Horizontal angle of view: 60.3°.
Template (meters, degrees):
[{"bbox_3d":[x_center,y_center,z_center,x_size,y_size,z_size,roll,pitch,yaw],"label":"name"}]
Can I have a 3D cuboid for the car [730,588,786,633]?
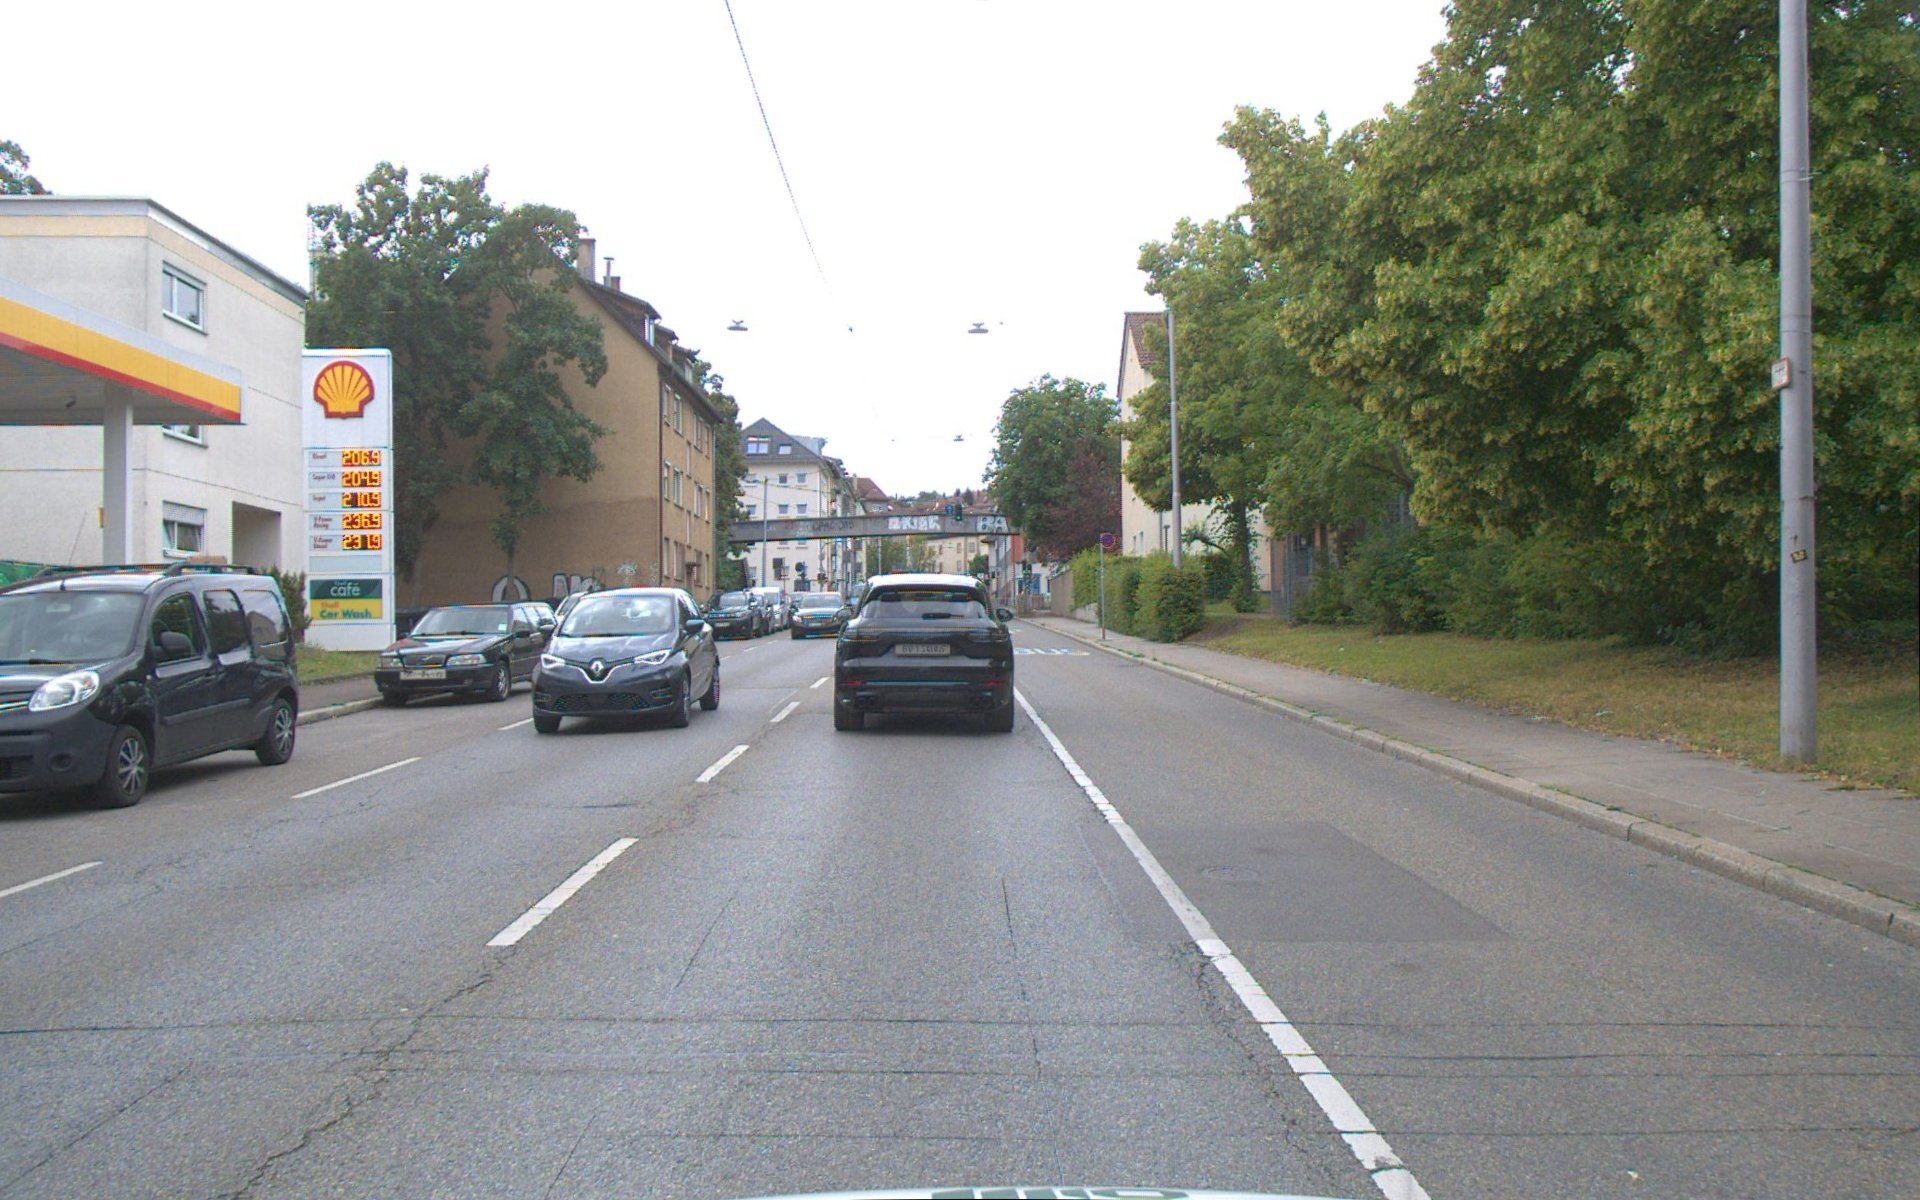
[{"bbox_3d":[-7.531,0.367,61.886,1.716,1.557,4.097,-2,0,-3],"label":"car"}]

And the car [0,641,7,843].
[{"bbox_3d":[-6.976,0.855,8.463,1.754,1.475,4.217,-2,1,-1],"label":"car"}]

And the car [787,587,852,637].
[{"bbox_3d":[-4.539,0.360,54.100,1.741,1.492,4.499,-2,0,0],"label":"car"}]

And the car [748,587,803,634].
[{"bbox_3d":[-7.488,0.398,67.480,1.740,1.784,4.557,-2,0,-1],"label":"car"}]

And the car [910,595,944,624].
[{"bbox_3d":[-1.679,0.491,86.112,1.706,1.424,4.000,0,1,-1],"label":"car"}]

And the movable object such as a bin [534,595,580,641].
[{"bbox_3d":[-13.093,0.575,53.766,1.256,1.453,1.278,0,0,-5],"label":"movable object such as a bin"}]

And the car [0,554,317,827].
[{"bbox_3d":[-7.120,0.627,13.763,1.814,1.867,4.700,-2,1,-2],"label":"car"}]

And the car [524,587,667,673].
[{"bbox_3d":[-7.430,0.565,34.182,1.876,1.605,4.699,-2,0,0],"label":"car"}]

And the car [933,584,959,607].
[{"bbox_3d":[-0.936,-0.323,110.787,1.706,1.424,4.000,0,1,-1],"label":"car"}]

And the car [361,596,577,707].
[{"bbox_3d":[-7.388,0.714,25.403,1.760,1.456,4.744,-2,1,1],"label":"car"}]

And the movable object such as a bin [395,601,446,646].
[{"bbox_3d":[-17.549,0.748,53.813,1.365,1.453,0.912,0,0,-3],"label":"movable object such as a bin"}]

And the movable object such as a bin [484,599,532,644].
[{"bbox_3d":[-14.741,0.692,53.980,1.365,1.453,0.912,0,0,-3],"label":"movable object such as a bin"}]

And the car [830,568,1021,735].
[{"bbox_3d":[-0.367,0.491,18.907,1.953,1.691,4.000,0,1,-1],"label":"car"}]

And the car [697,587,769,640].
[{"bbox_3d":[-7.673,0.422,56.257,1.746,1.637,4.265,-3,0,0],"label":"car"}]

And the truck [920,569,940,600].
[{"bbox_3d":[-3.532,-1.817,195.710,2.221,3.484,9.876,-1,0,-1],"label":"truck"}]

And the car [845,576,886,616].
[{"bbox_3d":[-4.819,-0.226,84.642,1.892,1.934,4.588,-1,1,-1],"label":"car"}]

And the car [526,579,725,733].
[{"bbox_3d":[-3.846,0.583,19.565,1.649,1.582,3.718,-2,0,-2],"label":"car"}]

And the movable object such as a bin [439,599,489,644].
[{"bbox_3d":[-16.150,0.697,53.902,1.365,1.453,0.912,0,0,-3],"label":"movable object such as a bin"}]
